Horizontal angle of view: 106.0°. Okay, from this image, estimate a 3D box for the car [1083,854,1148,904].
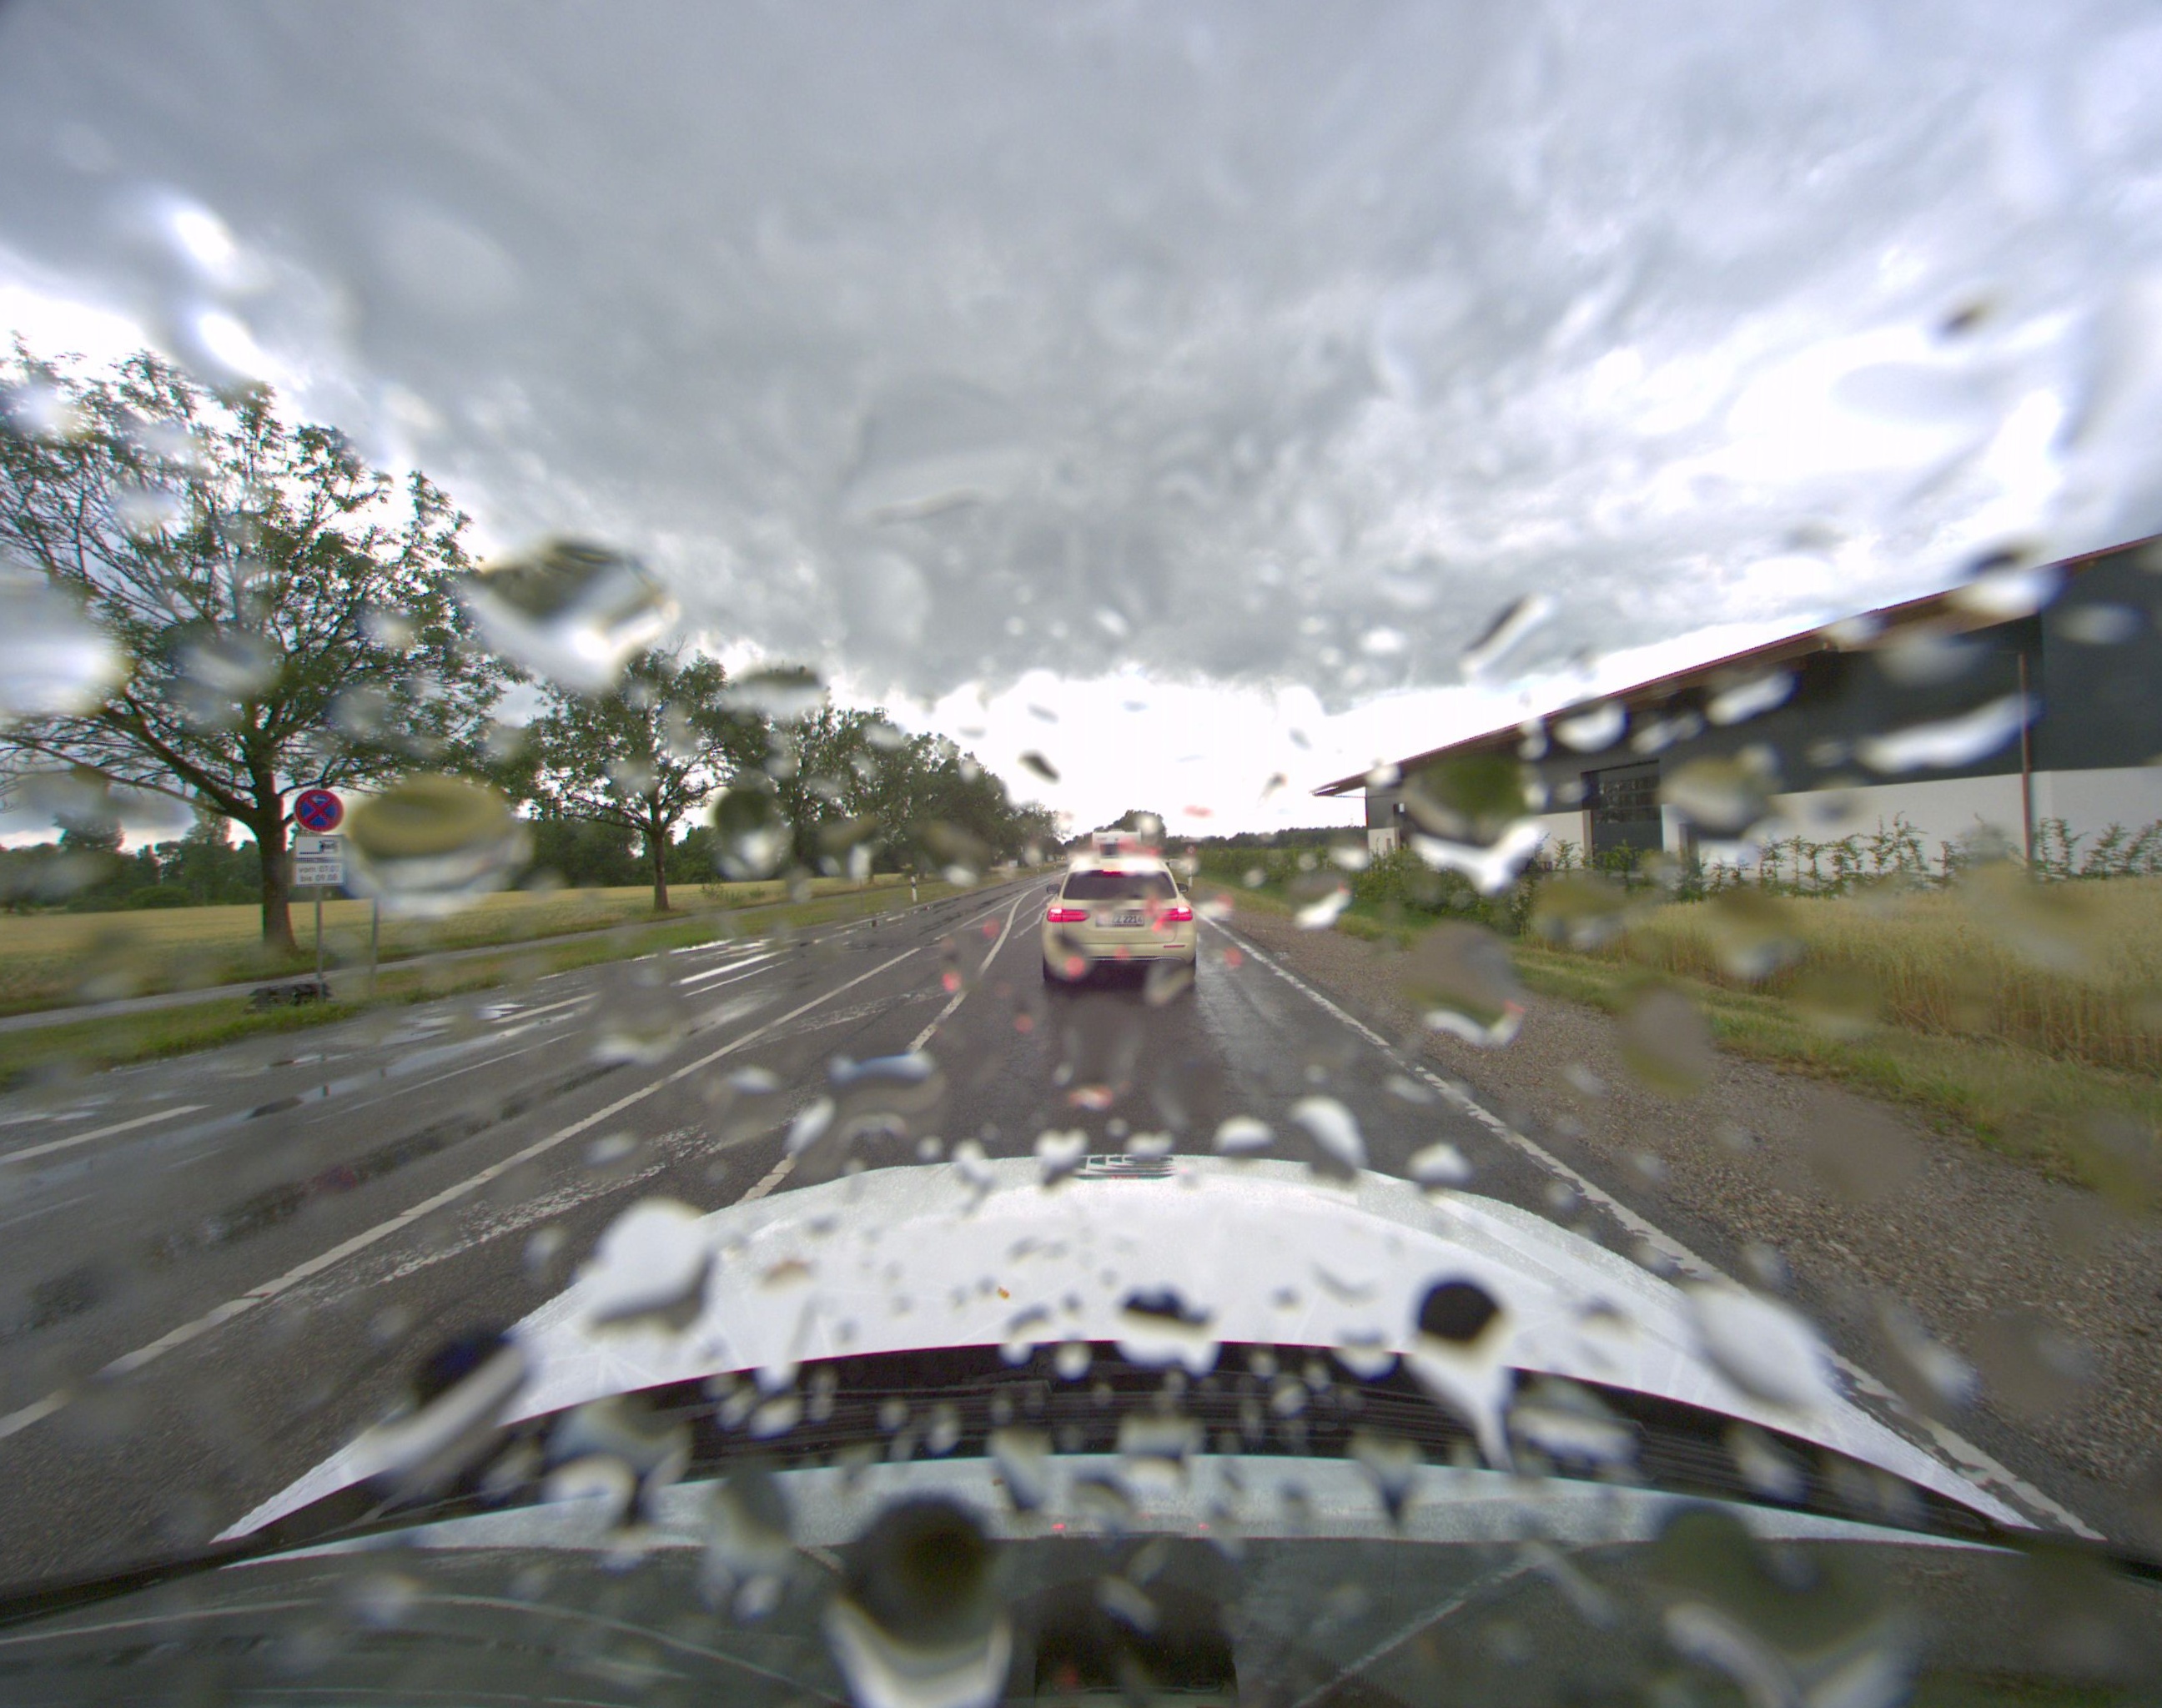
[{"bbox_3d":[1.090,0.752,26.111,1.887,1.429,3.929,-1,0,2],"label":"car"}]

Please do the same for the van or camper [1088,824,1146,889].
[{"bbox_3d":[1.802,0.112,40.090,2.487,2.831,5.938,-3,0,3],"label":"van or camper"}]

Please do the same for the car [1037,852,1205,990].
[{"bbox_3d":[0.525,0.727,10.823,1.790,1.464,4.033,-1,0,2],"label":"car"}]
